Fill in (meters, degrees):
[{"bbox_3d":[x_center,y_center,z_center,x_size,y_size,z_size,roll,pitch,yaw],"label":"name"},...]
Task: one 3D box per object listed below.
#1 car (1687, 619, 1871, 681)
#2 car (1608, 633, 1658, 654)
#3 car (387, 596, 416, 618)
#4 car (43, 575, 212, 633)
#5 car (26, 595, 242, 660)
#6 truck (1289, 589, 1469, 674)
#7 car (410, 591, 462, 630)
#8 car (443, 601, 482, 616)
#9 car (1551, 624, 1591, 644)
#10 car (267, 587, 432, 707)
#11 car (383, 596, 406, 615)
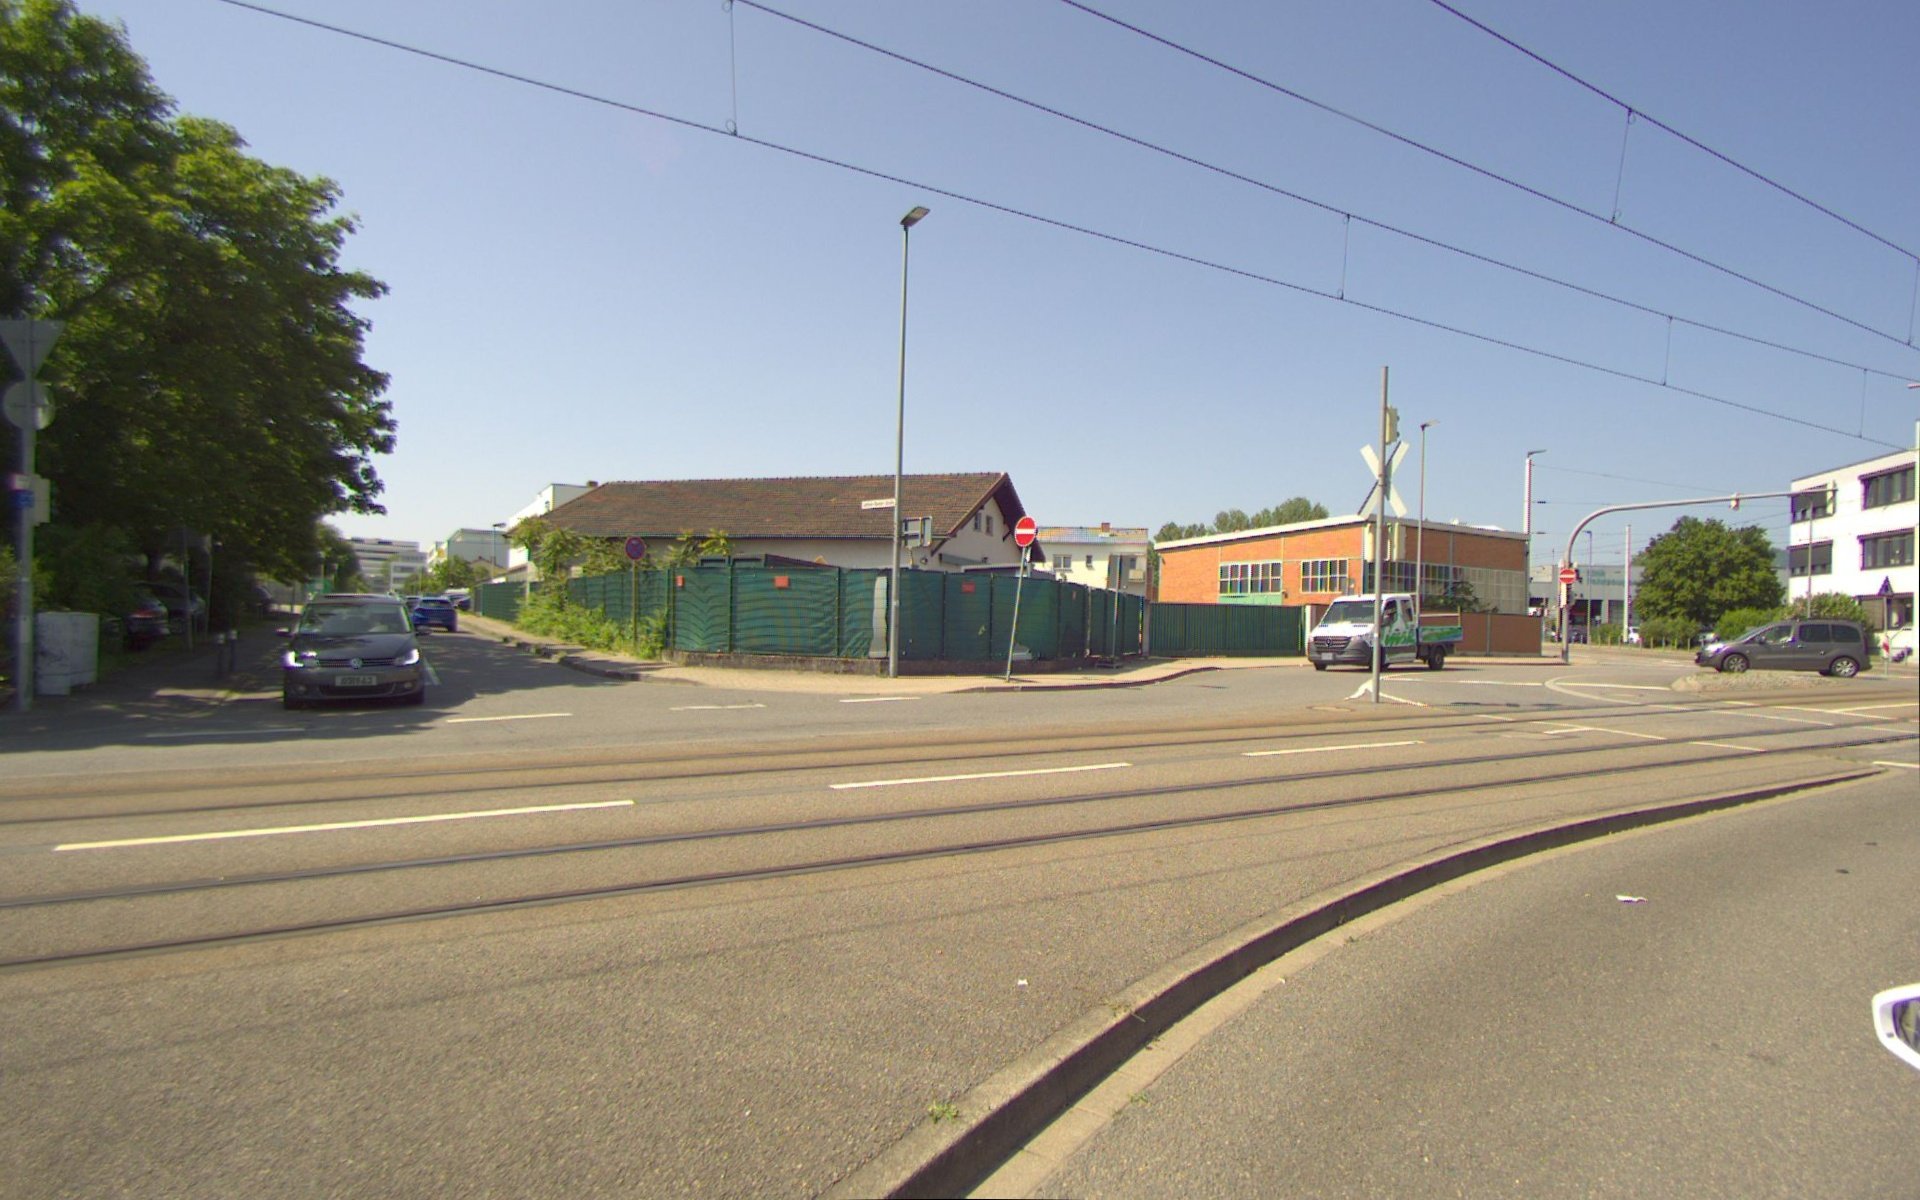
[{"bbox_3d":[26.335,1.576,32.523,4.330,1.842,1.986,0,-1,29],"label":"car"},{"bbox_3d":[54.307,3.537,81.097,1.959,1.683,4.004,0,-3,12],"label":"car"},{"bbox_3d":[-43.325,0.547,77.877,1.786,1.623,3.966,2,-1,-31],"label":"car"},{"bbox_3d":[-25.261,0.152,30.646,3.830,1.659,1.609,2,-1,-37],"label":"car"},{"bbox_3d":[-20.398,0.670,24.951,1.599,1.486,3.854,0,-1,36],"label":"car"},{"bbox_3d":[12.880,0.959,30.666,6.330,2.368,2.186,2,-1,-37],"label":"truck"},{"bbox_3d":[-22.459,0.472,43.173,1.782,1.557,4.136,1,-1,-25],"label":"car"},{"bbox_3d":[-50.553,0.829,102.070,3.392,1.445,1.340,2,-1,-31],"label":"car"},{"bbox_3d":[57.933,3.279,95.314,1.959,1.806,4.004,0,-3,12],"label":"car"},{"bbox_3d":[-9.412,0.623,15.614,1.911,1.604,4.157,1,0,-31],"label":"car"},{"bbox_3d":[-63.593,0.679,113.044,1.889,2.040,3.976,1,-1,-24],"label":"car"}]
